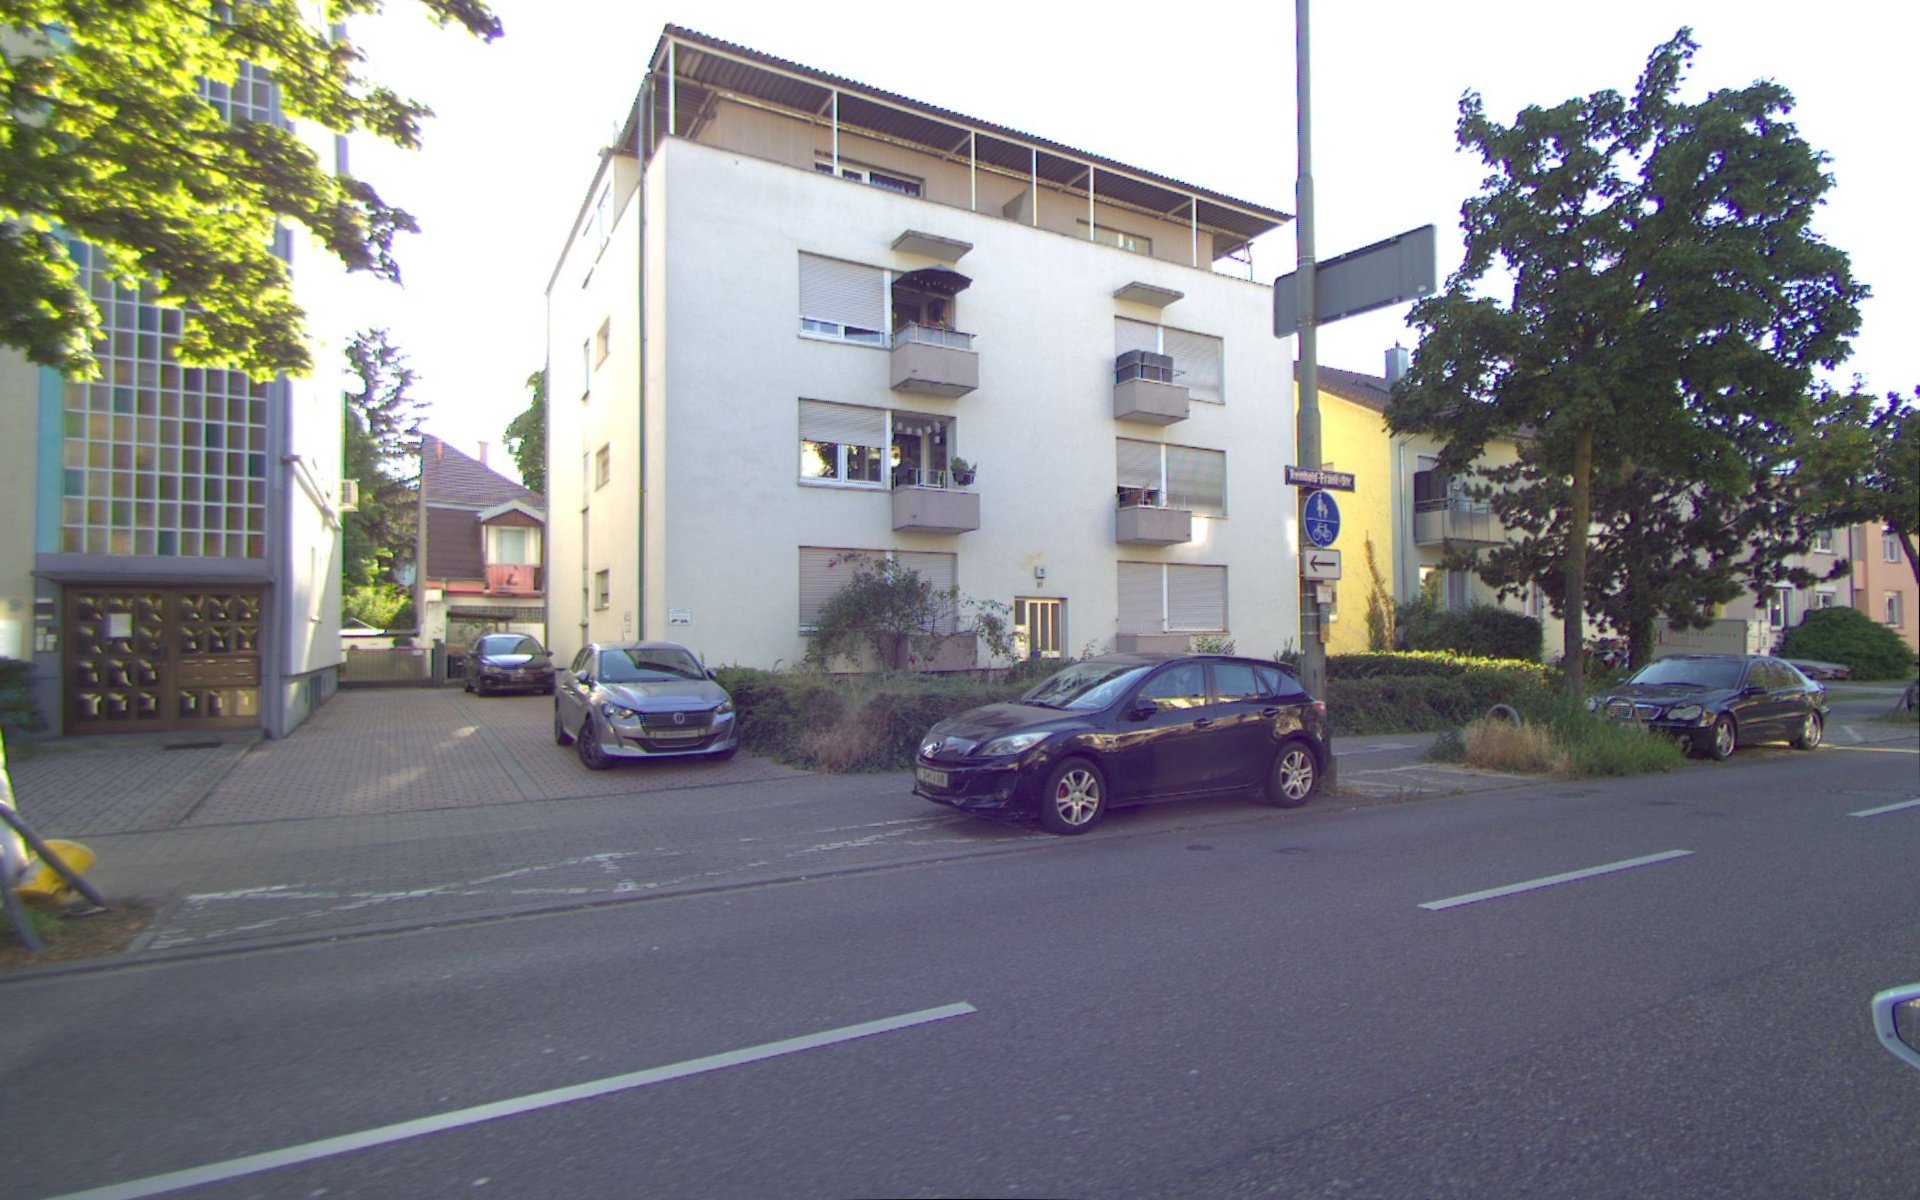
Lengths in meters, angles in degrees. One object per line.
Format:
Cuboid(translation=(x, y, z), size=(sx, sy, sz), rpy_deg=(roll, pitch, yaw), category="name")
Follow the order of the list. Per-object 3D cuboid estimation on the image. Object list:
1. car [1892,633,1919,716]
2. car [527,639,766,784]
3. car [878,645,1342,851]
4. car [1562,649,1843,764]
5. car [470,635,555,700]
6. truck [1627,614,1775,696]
Cuboid(translation=(22.137, 1.594, 21.873), size=(3.549, 1.763, 1.742), rpy_deg=(1, -2, -31), category="car")
Cuboid(translation=(-4.208, 1.292, 13.078), size=(1.979, 1.498, 3.964), rpy_deg=(1, -2, -33), category="car")
Cuboid(translation=(1.487, 1.209, 9.477), size=(4.198, 1.517, 1.709), rpy_deg=(1, -2, -31), category="car")
Cuboid(translation=(11.091, 1.476, 14.938), size=(4.372, 1.438, 1.746), rpy_deg=(1, -2, -30), category="car")
Cuboid(translation=(-11.614, 1.675, 25.949), size=(1.785, 1.498, 3.972), rpy_deg=(1, -2, -27), category="car")
Cuboid(translation=(20.454, 1.493, 27.804), size=(1.528, 2.121, 2.900), rpy_deg=(1, -2, -30), category="truck")
